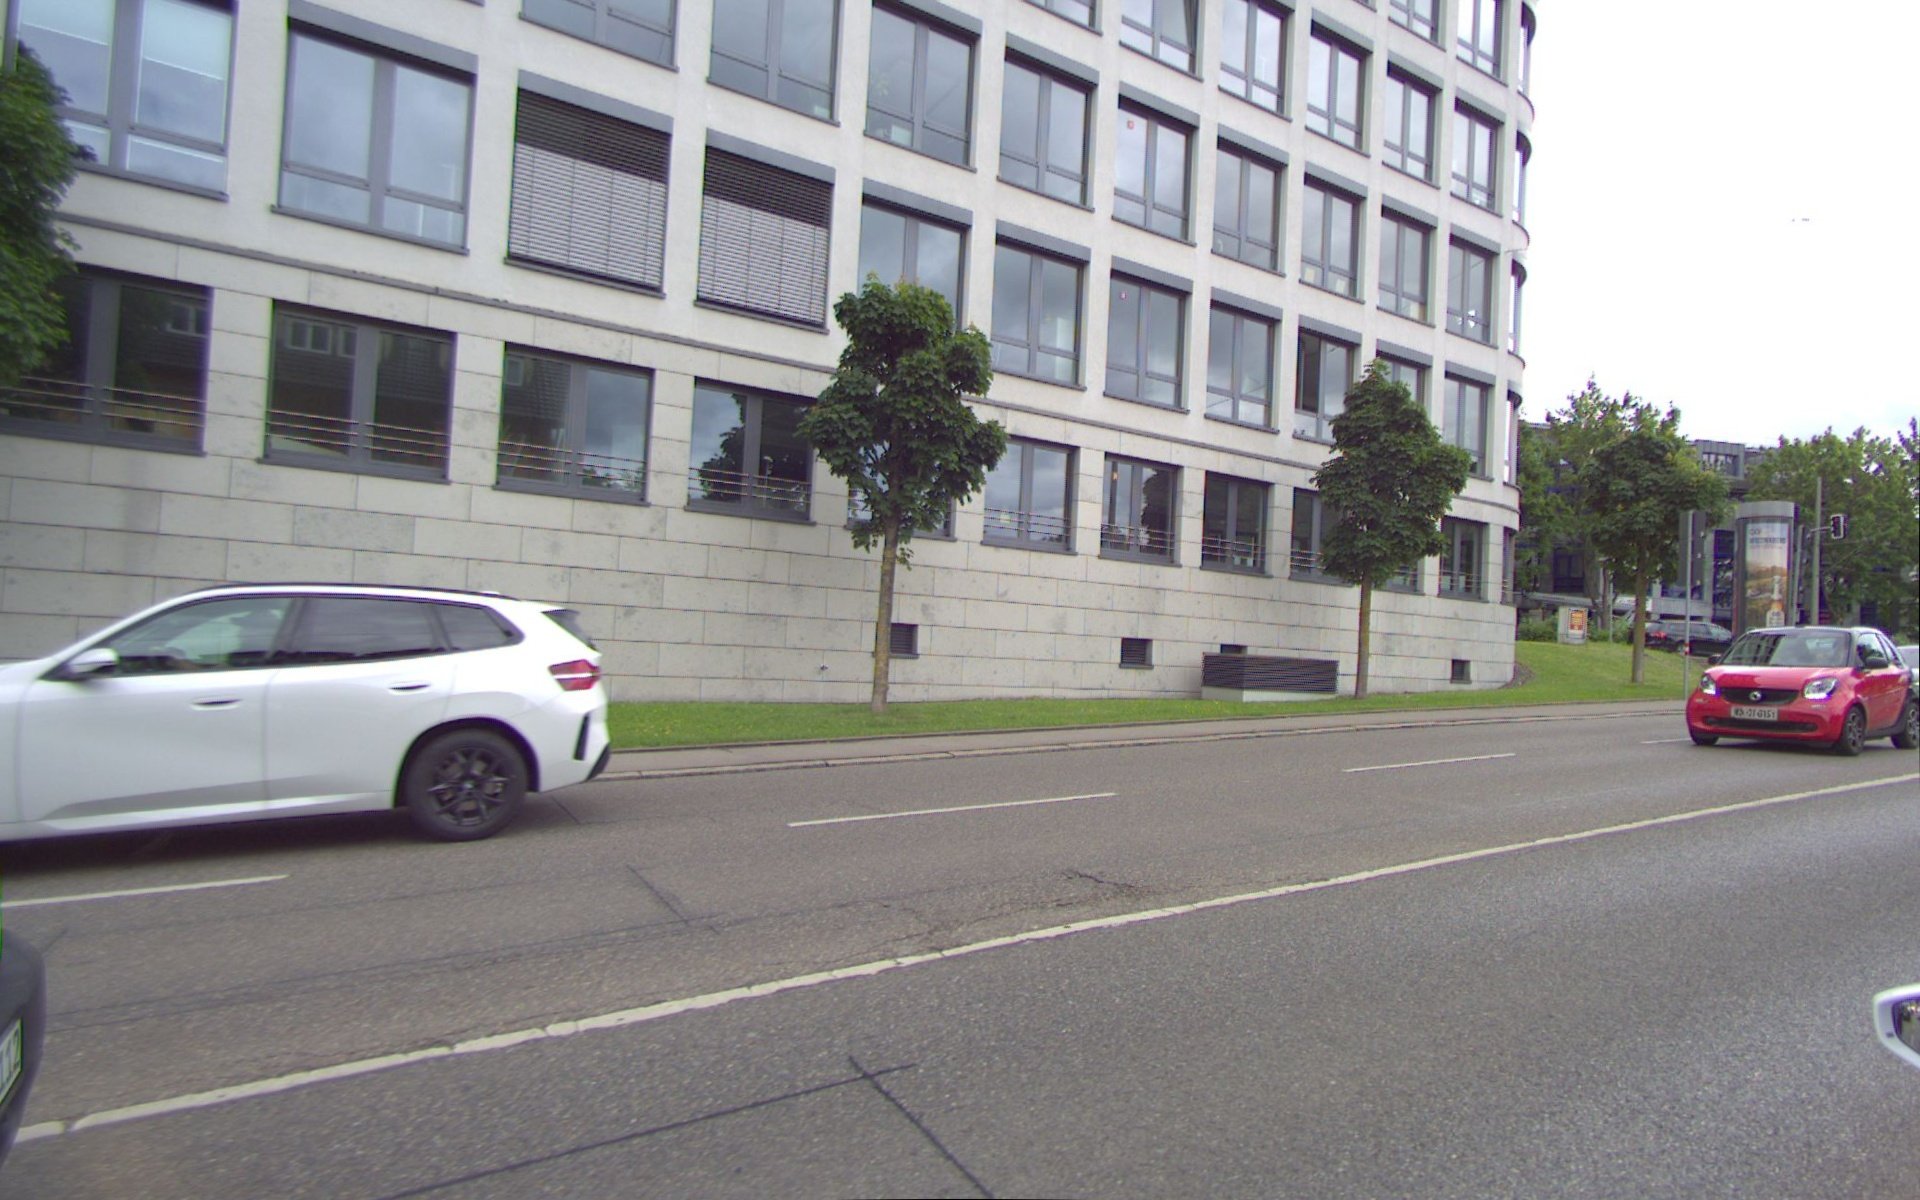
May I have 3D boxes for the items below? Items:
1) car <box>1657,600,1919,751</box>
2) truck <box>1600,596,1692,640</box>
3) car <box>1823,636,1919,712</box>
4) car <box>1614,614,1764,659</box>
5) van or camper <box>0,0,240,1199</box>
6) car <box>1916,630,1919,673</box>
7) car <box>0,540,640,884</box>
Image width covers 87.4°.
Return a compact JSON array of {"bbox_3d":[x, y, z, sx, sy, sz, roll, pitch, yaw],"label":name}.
[{"bbox_3d":[11.450,0.950,13.388,4.377,1.724,1.861,1,-3,-30],"label":"car"},{"bbox_3d":[39.217,1.013,57.484,3.923,2.419,1.999,1,1,-4],"label":"truck"},{"bbox_3d":[20.551,1.540,21.584,4.157,1.514,1.739,1,-3,-30],"label":"car"},{"bbox_3d":[26.838,1.326,37.037,4.356,1.483,1.780,1,1,-5],"label":"car"},{"bbox_3d":[-4.061,0.056,0.357,5.899,2.697,2.331,3,0,-32],"label":"van or camper"},{"bbox_3d":[36.210,1.884,34.914,3.919,1.565,1.783,1,-1,14],"label":"car"},{"bbox_3d":[-4.666,0.652,6.617,4.599,1.812,1.861,1,-3,-30],"label":"car"}]
